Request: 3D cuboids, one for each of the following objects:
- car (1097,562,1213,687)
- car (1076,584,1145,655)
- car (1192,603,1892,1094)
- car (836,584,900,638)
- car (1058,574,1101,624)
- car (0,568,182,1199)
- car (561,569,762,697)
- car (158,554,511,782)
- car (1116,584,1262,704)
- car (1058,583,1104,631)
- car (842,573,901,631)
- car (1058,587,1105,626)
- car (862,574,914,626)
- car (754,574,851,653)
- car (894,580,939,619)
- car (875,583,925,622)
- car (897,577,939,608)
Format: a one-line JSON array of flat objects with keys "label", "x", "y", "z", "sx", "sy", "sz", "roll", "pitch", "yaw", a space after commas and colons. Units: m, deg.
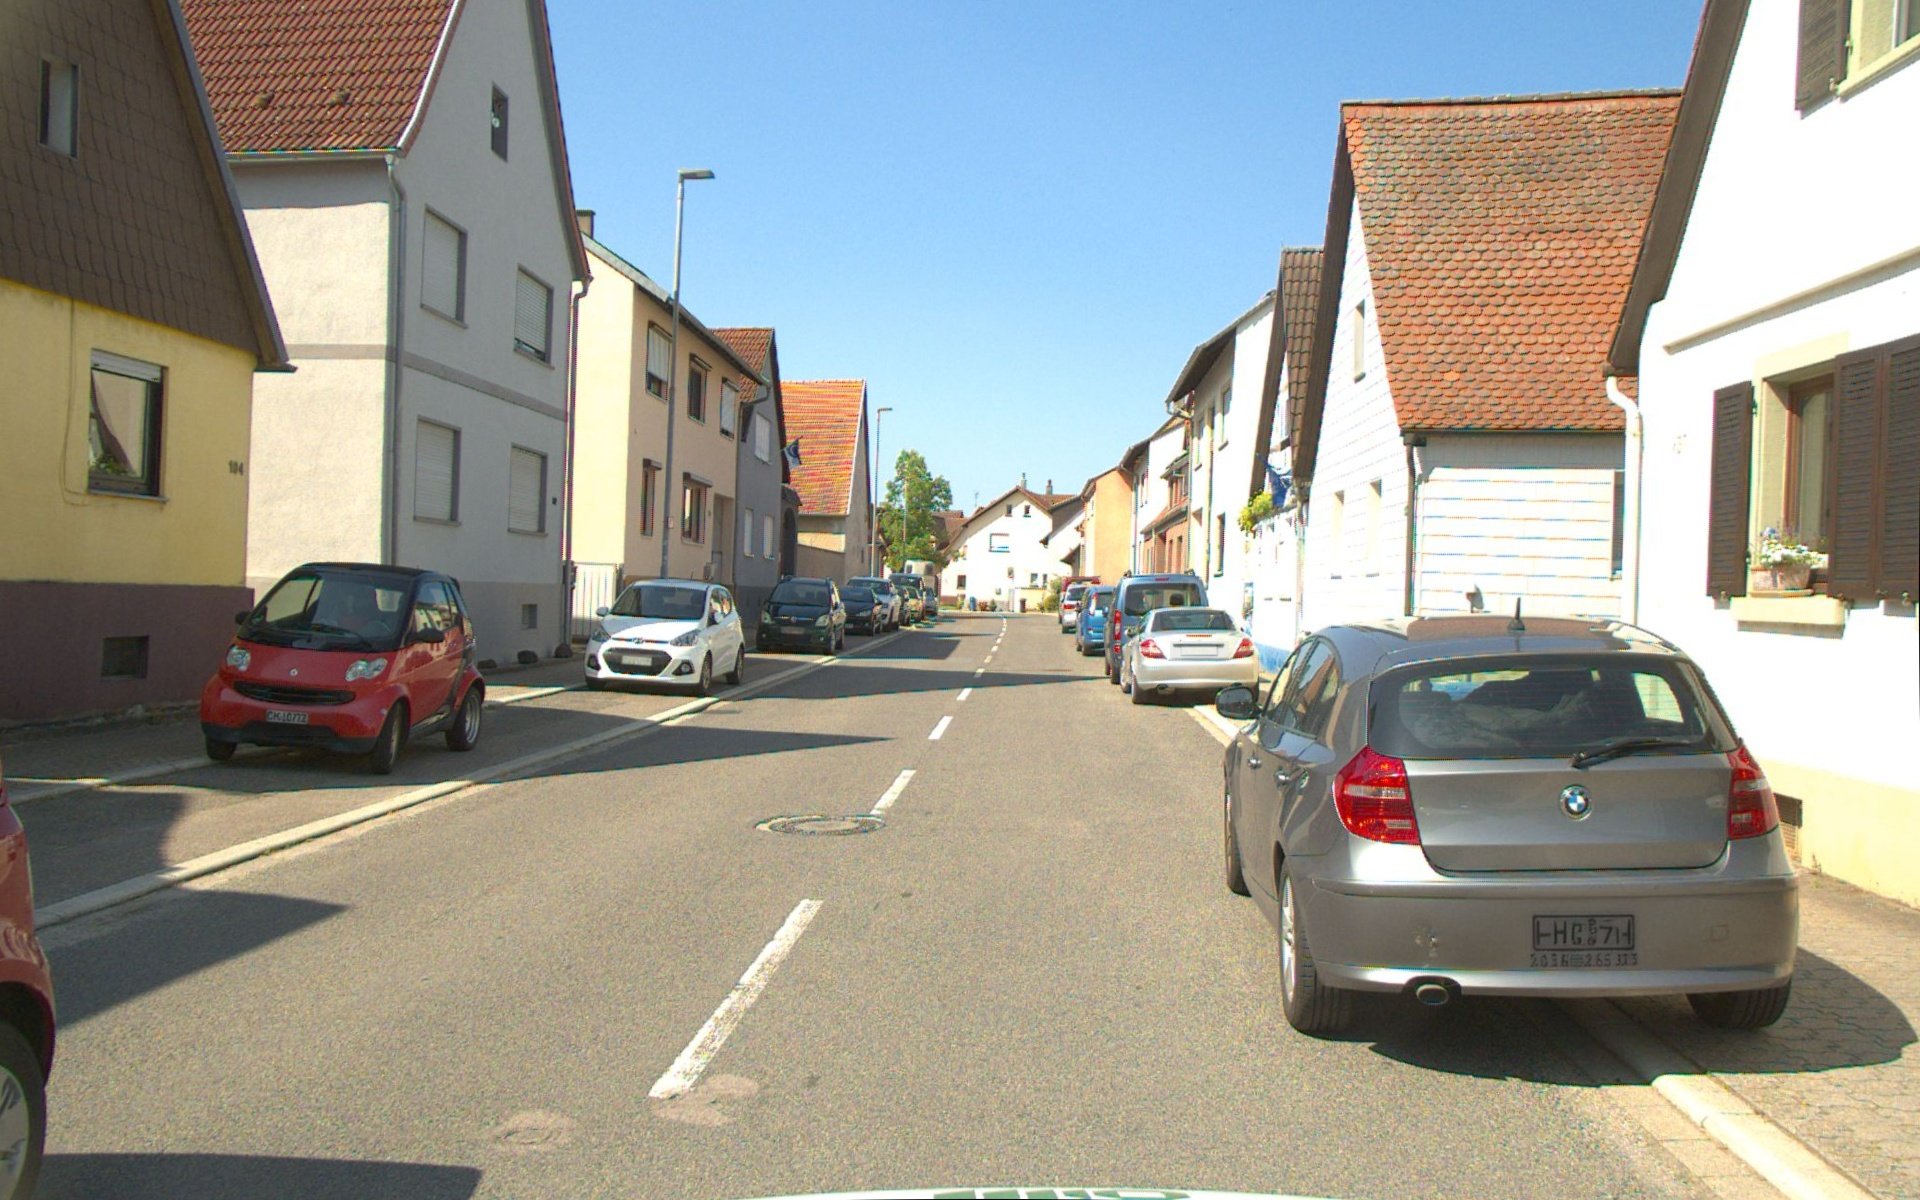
[{"label": "car", "x": 3.313, "y": 0.398, "z": 28.657, "sx": 1.615, "sy": 1.943, "sz": 3.626, "roll": 3, "pitch": 0, "yaw": 2}, {"label": "car", "x": 3.562, "y": 0.447, "z": 39.454, "sx": 1.391, "sy": 1.541, "sz": 3.305, "roll": 3, "pitch": 0, "yaw": 2}, {"label": "car", "x": 2.016, "y": 0.752, "z": 6.915, "sx": 1.669, "sy": 1.458, "sz": 3.890, "roll": 0, "pitch": 0, "yaw": 2}, {"label": "car", "x": -2.691, "y": 0.325, "z": 48.883, "sx": 1.473, "sy": 1.478, "sz": 3.510, "roll": 1, "pitch": 0, "yaw": 3}, {"label": "car", "x": 5.062, "y": -0.041, "z": 70.262, "sx": 1.730, "sy": 2.039, "sz": 3.451, "roll": 1, "pitch": 0, "yaw": 3}, {"label": "car", "x": -2.858, "y": 0.660, "z": 2.414, "sx": 1.568, "sy": 1.515, "sz": 3.626, "roll": 3, "pitch": 0, "yaw": 2}, {"label": "car", "x": -4.142, "y": 0.432, "z": 23.667, "sx": 1.768, "sy": 1.574, "sz": 4.406, "roll": 3, "pitch": 0, "yaw": 4}, {"label": "car", "x": -4.939, "y": 0.491, "z": 13.463, "sx": 1.520, "sy": 1.571, "sz": 2.989, "roll": 3, "pitch": 0, "yaw": 4}, {"label": "car", "x": 3.177, "y": 0.583, "z": 23.536, "sx": 1.669, "sy": 1.523, "sz": 3.453, "roll": -2, "pitch": 0, "yaw": 2}, {"label": "car", "x": 4.142, "y": 0.240, "z": 57.126, "sx": 1.391, "sy": 1.541, "sz": 3.305, "roll": 3, "pitch": 0, "yaw": 2}, {"label": "car", "x": -2.817, "y": 0.059, "z": 53.260, "sx": 1.496, "sy": 1.743, "sz": 3.626, "roll": 3, "pitch": 0, "yaw": 2}, {"label": "car", "x": 4.745, "y": 0.258, "z": 64.854, "sx": 1.730, "sy": 1.458, "sz": 3.451, "roll": 1, "pitch": 0, "yaw": 3}, {"label": "car", "x": -2.545, "y": -0.009, "z": 58.991, "sx": 1.496, "sy": 1.743, "sz": 3.626, "roll": 3, "pitch": 0, "yaw": 2}, {"label": "car", "x": -3.455, "y": 0.287, "z": 36.963, "sx": 1.585, "sy": 1.605, "sz": 3.962, "roll": 3, "pitch": 0, "yaw": 2}, {"label": "car", "x": -1.926, "y": 0.000, "z": 74.089, "sx": 1.718, "sy": 1.653, "sz": 4.001, "roll": 1, "pitch": 0, "yaw": 2}, {"label": "car", "x": -2.369, "y": 0.113, "z": 66.384, "sx": 1.718, "sy": 1.467, "sz": 4.001, "roll": 1, "pitch": 0, "yaw": 1}, {"label": "car", "x": -2.106, "y": -0.365, "z": 83.549, "sx": 1.717, "sy": 1.467, "sz": 4.002, "roll": 1, "pitch": 0, "yaw": 4}]
